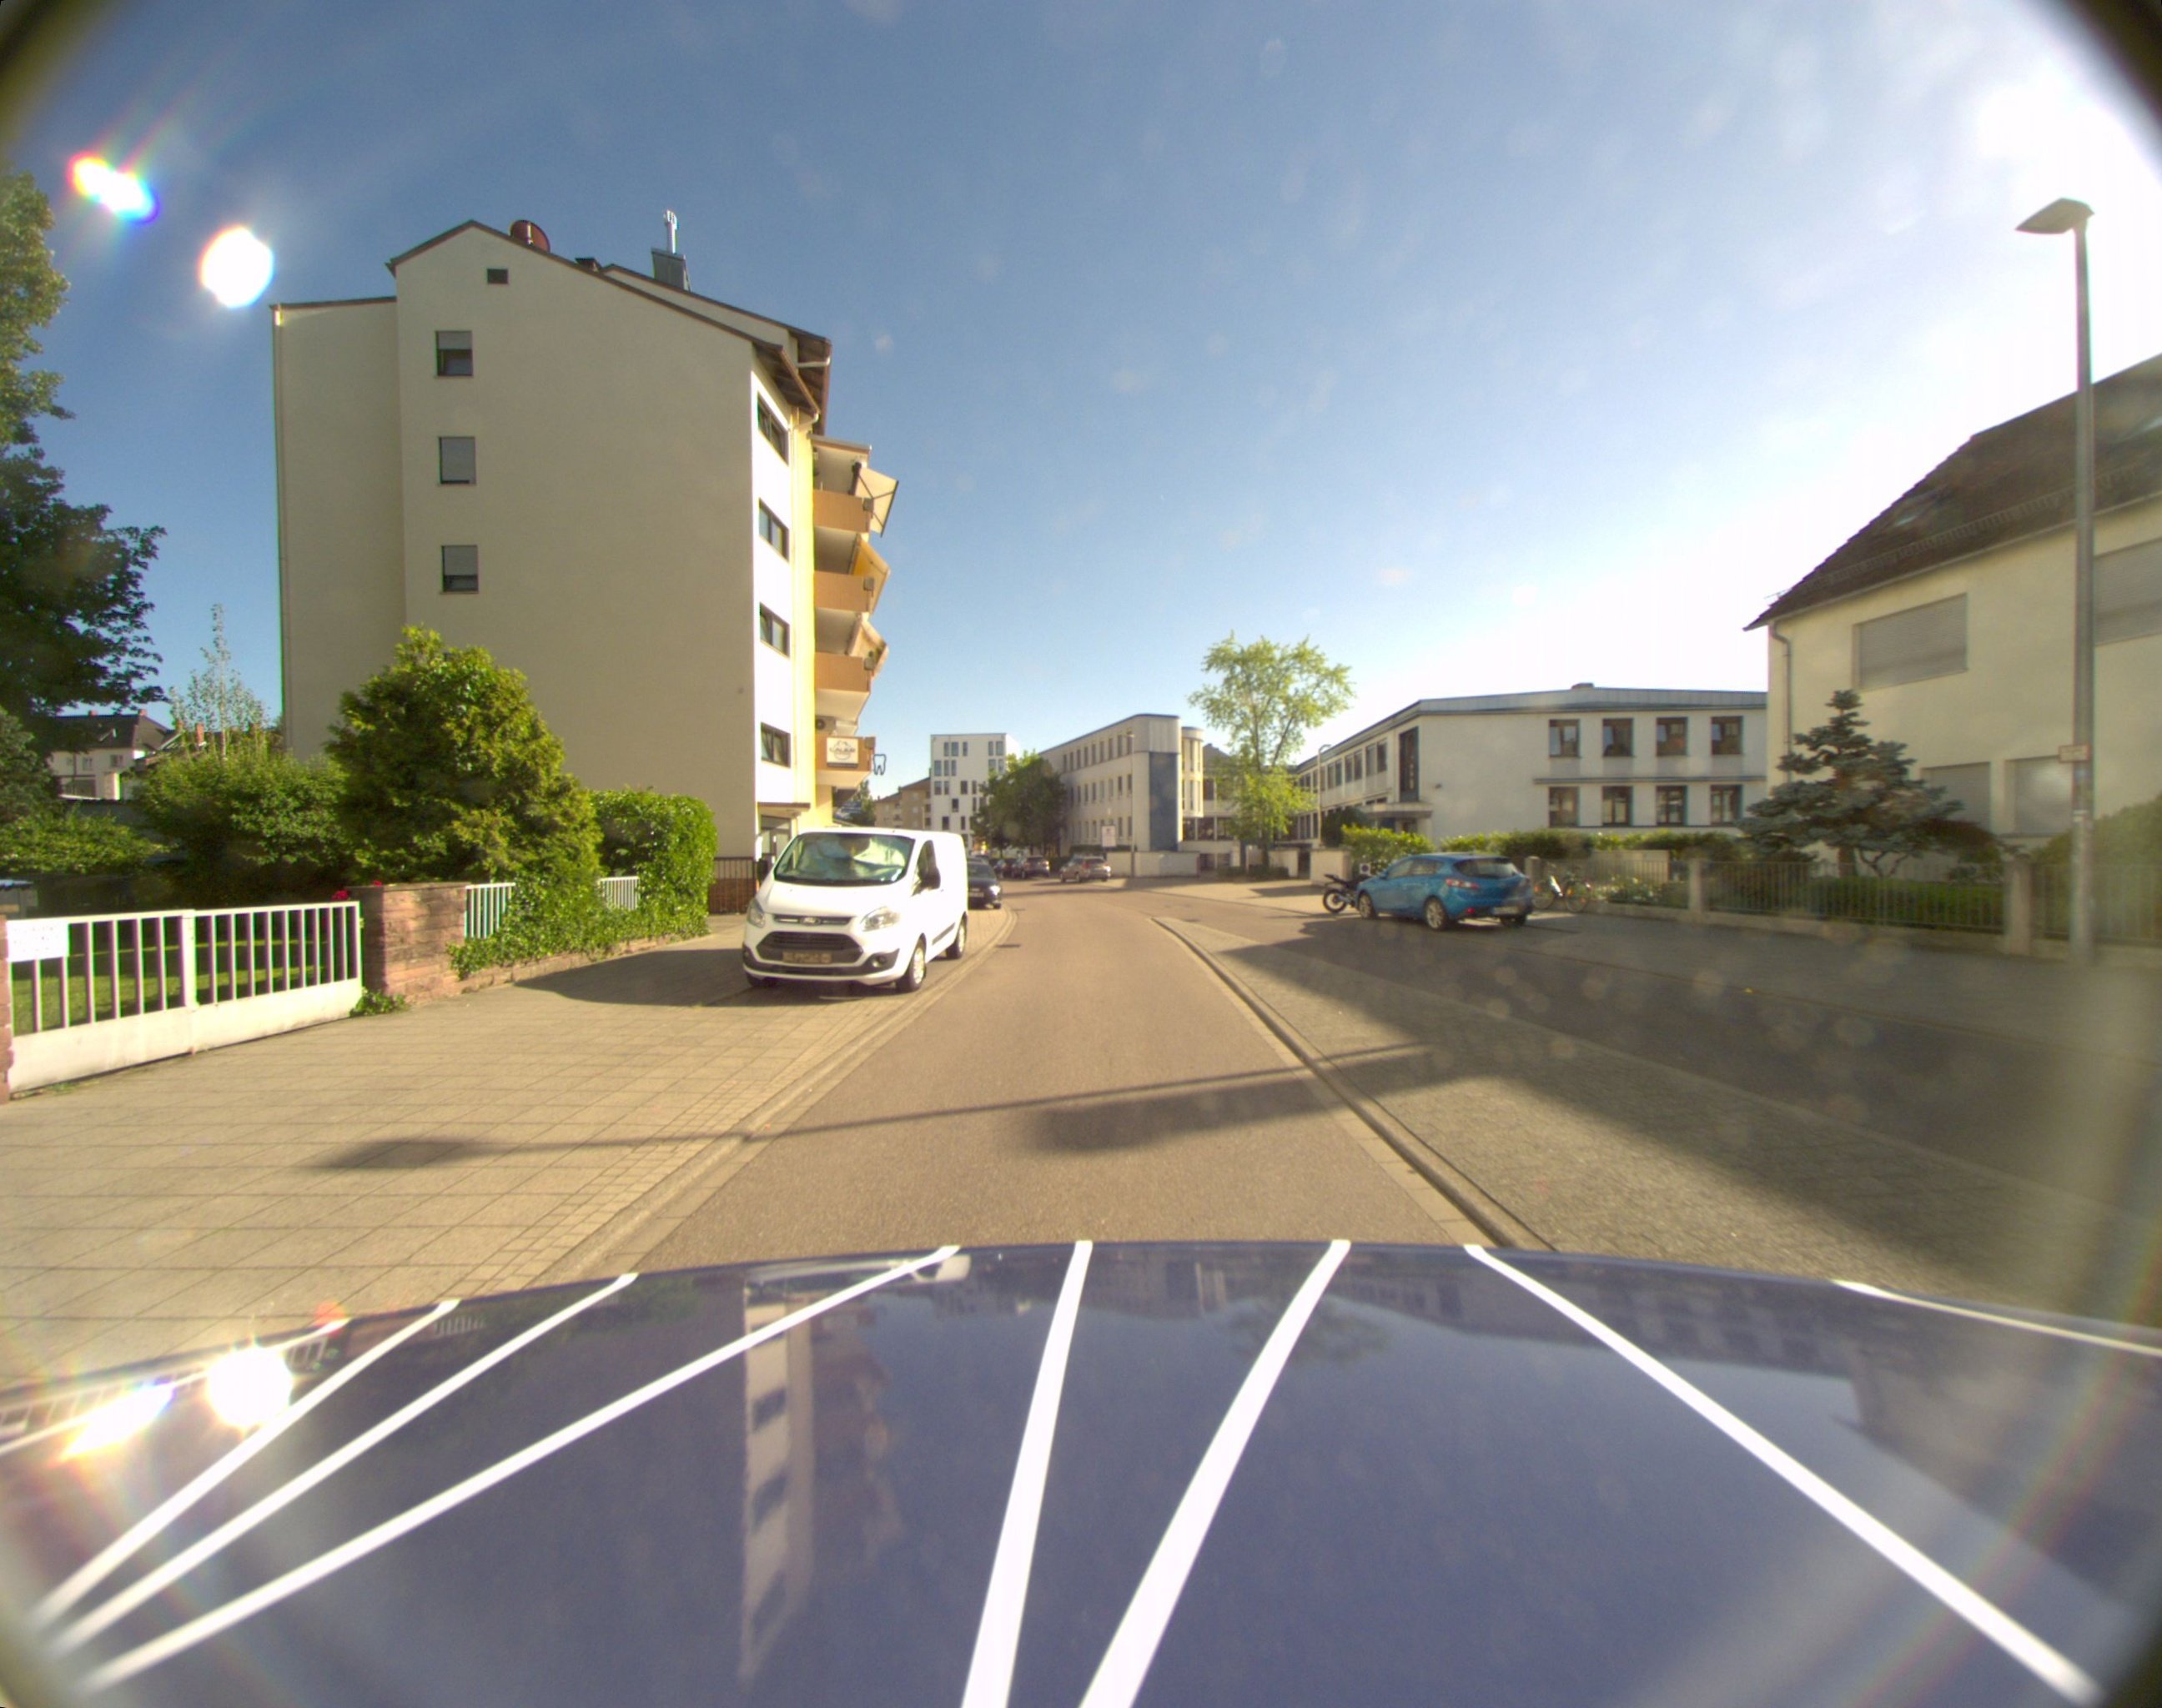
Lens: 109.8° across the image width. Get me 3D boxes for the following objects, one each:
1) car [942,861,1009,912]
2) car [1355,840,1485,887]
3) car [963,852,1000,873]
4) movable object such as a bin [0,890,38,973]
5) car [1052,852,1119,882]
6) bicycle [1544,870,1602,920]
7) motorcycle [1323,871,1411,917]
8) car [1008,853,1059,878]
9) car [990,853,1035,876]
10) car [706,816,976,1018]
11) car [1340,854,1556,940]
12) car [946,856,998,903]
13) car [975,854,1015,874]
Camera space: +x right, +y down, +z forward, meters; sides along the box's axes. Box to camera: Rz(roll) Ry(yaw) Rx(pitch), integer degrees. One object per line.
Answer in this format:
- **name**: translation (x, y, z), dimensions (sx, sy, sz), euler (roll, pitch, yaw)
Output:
- **car**: translation (-3.449, 0.971, 24.215), dimensions (1.759, 1.386, 3.995), euler (3, 0, -12)
- **car**: translation (12.726, 0.342, 28.719), dimensions (3.996, 1.706, 2.000), euler (0, 1, 2)
- **car**: translation (-9.055, 0.725, 68.528), dimensions (2.141, 1.800, 4.826), euler (-2, 1, -21)
- **movable object such as a bin**: translation (-13.855, 0.978, 9.518), dimensions (0.738, 1.017, 0.571), euler (0, 1, -4)
- **car**: translation (0.200, 0.713, 44.215), dimensions (2.141, 1.604, 4.826), euler (-2, 1, -23)
- **bicycle**: translation (10.670, 0.877, 16.512), dimensions (0.346, 1.009, 1.262), euler (0, 0, -6)
- **motorcycle**: translation (7.016, 0.984, 18.661), dimensions (1.959, 1.089, 0.591), euler (-2, 0, 22)
- **car**: translation (-3.399, 0.756, 53.528), dimensions (2.141, 1.604, 4.826), euler (-2, 1, -21)
- **car**: translation (-5.325, 0.795, 58.626), dimensions (2.141, 1.604, 4.826), euler (-2, 1, -21)
- **car**: translation (-2.813, 0.650, 10.247), dimensions (1.998, 2.002, 4.797), euler (2, 0, 1)
- **car**: translation (7.279, 0.766, 15.693), dimensions (1.885, 1.426, 4.411), euler (-3, 0, -7)
- **car**: translation (-4.233, 0.934, 29.186), dimensions (1.759, 1.604, 3.996), euler (3, 0, -10)
- **car**: translation (-7.271, 0.808, 63.865), dimensions (2.141, 1.604, 4.453), euler (-2, 1, -21)
